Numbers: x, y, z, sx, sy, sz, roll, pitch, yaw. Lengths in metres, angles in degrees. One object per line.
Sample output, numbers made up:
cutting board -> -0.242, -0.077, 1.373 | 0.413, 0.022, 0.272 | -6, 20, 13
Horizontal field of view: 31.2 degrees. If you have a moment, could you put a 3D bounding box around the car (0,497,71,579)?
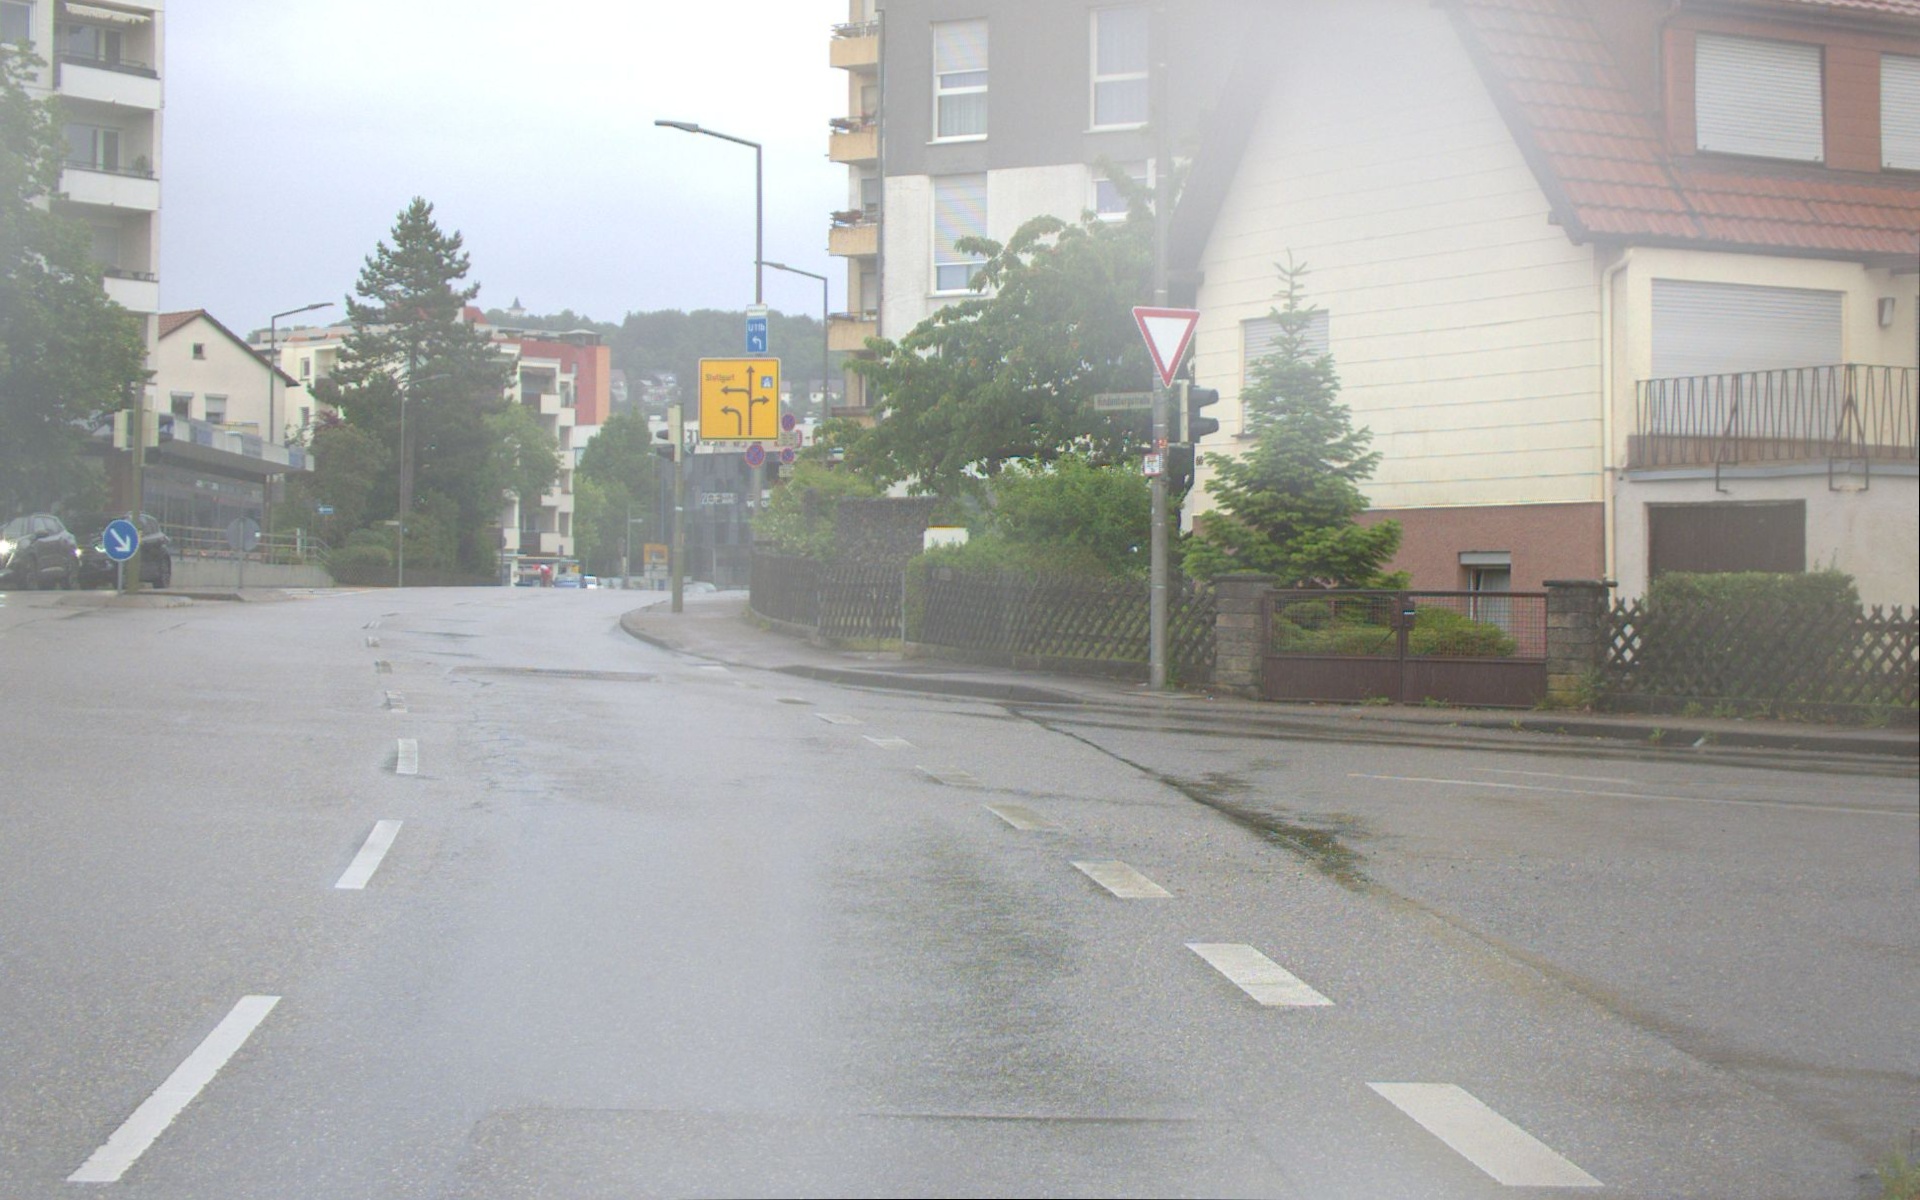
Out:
car -> -18.389, -1.182, 65.510 | 1.967, 1.507, 4.000 | 1, 1, -2

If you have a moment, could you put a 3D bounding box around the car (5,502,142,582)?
car -> -18.331, -1.184, 71.258 | 1.879, 1.592, 4.185 | 1, 1, -2
